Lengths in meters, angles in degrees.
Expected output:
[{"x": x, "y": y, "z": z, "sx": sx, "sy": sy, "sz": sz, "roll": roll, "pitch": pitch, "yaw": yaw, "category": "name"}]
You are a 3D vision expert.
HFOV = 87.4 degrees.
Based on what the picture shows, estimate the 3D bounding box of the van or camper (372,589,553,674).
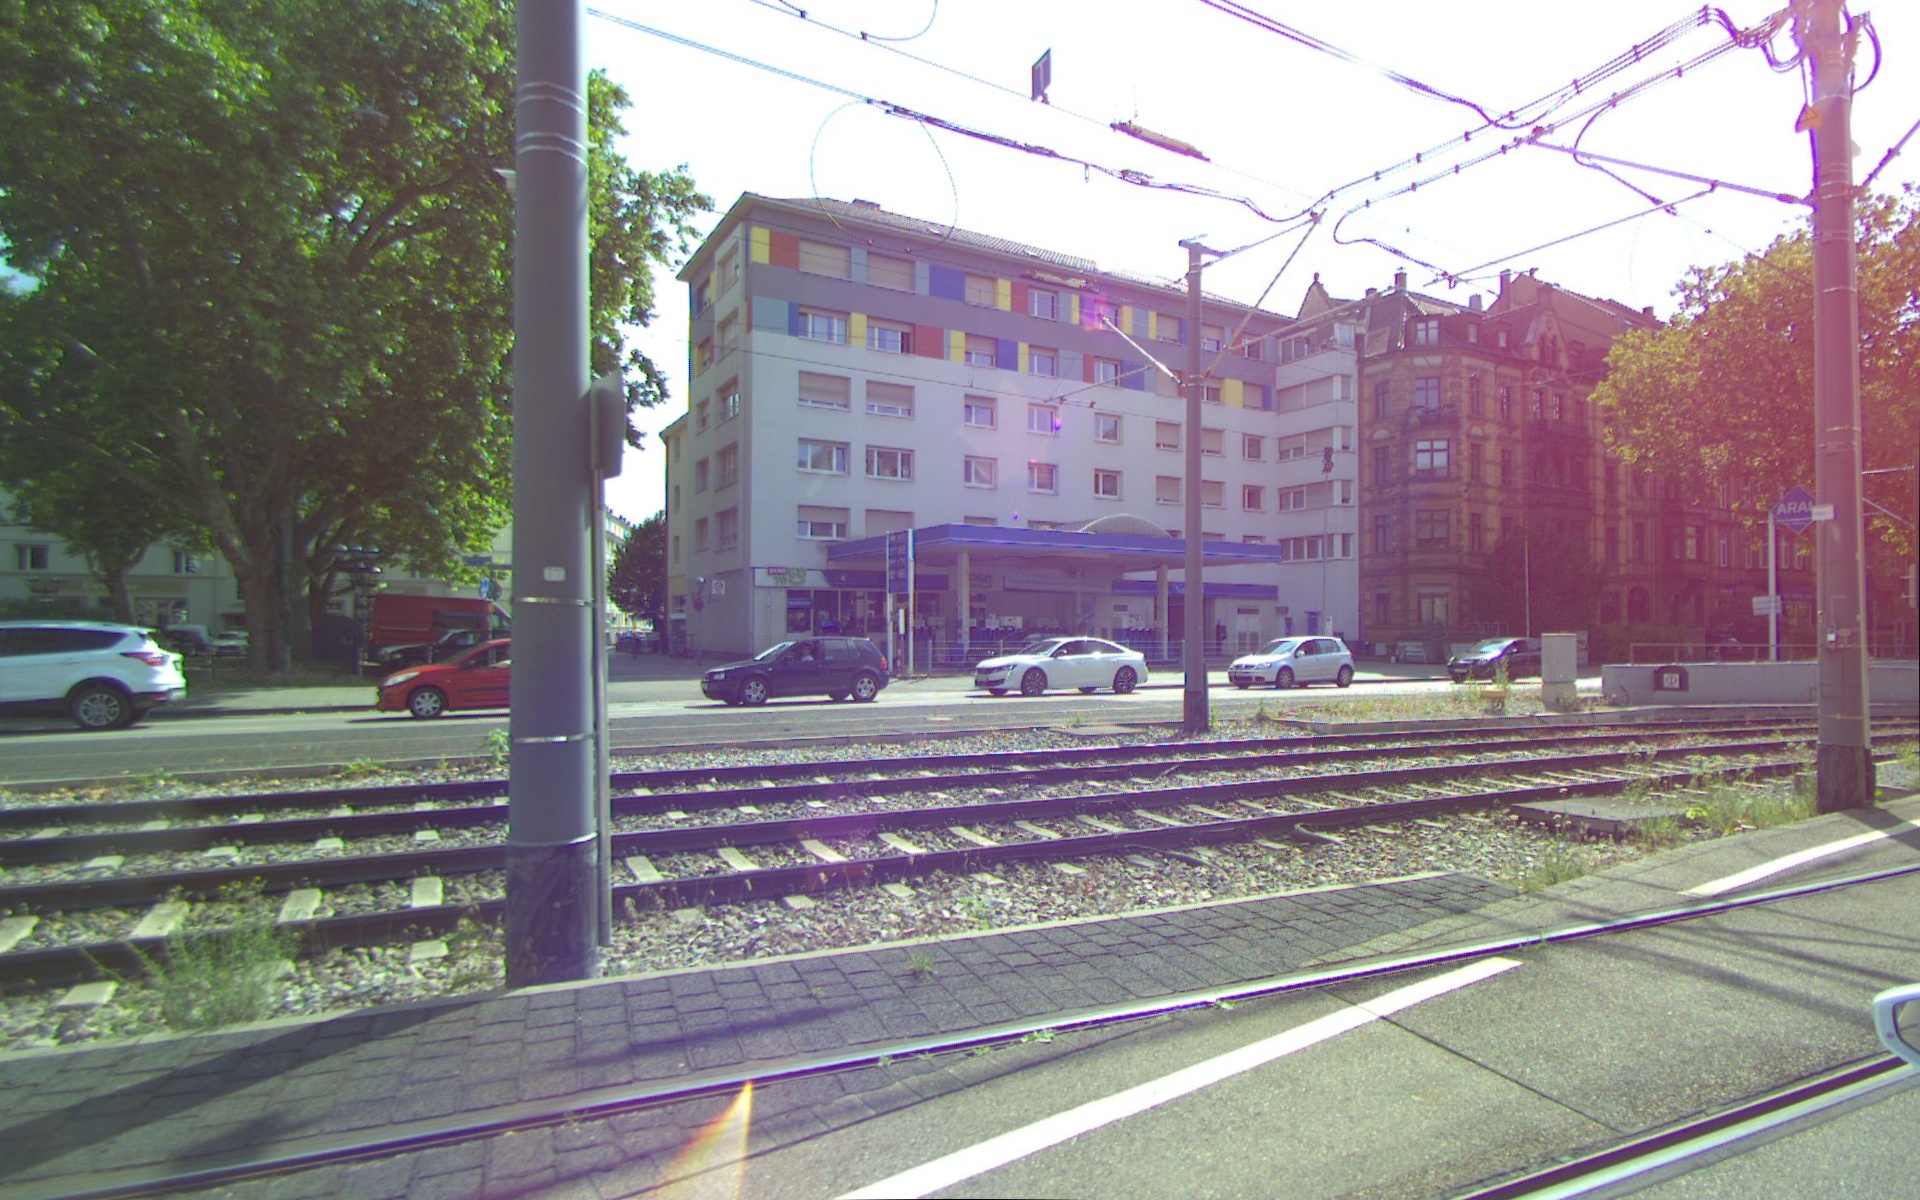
[{"x": -16.594, "y": 1.090, "z": 33.700, "sx": 5.283, "sy": 2.675, "sz": 2.094, "roll": 1, "pitch": -4, "yaw": -29, "category": "van or camper"}]

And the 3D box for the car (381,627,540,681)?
[{"x": -14.218, "y": 1.497, "z": 28.660, "sx": 3.954, "sy": 1.429, "sz": 1.744, "roll": 1, "pitch": -2, "yaw": -31, "category": "car"}]

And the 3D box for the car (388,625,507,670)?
[{"x": -19.537, "y": 1.787, "z": 38.309, "sx": 3.954, "sy": 1.625, "sz": 1.518, "roll": 1, "pitch": -3, "yaw": -31, "category": "car"}]

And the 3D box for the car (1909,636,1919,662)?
[{"x": 50.039, "y": 2.461, "z": 51.090, "sx": 3.447, "sy": 1.320, "sz": 1.492, "roll": 1, "pitch": -4, "yaw": -28, "category": "car"}]

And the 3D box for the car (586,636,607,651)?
[{"x": -37.135, "y": 4.398, "z": 102.803, "sx": 1.646, "sy": 1.435, "sz": 3.772, "roll": 0, "pitch": -1, "yaw": -14, "category": "car"}]

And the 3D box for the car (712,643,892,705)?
[{"x": -3.429, "y": 1.567, "z": 21.907, "sx": 3.588, "sy": 1.205, "sz": 1.610, "roll": 1, "pitch": -1, "yaw": -29, "category": "car"}]

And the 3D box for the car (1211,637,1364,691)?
[{"x": 9.569, "y": 1.819, "z": 29.262, "sx": 4.350, "sy": 1.435, "sz": 1.715, "roll": 1, "pitch": -2, "yaw": -29, "category": "car"}]

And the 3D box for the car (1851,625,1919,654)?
[{"x": 65.132, "y": 2.761, "z": 69.824, "sx": 1.977, "sy": 1.943, "sz": 4.380, "roll": 1, "pitch": -1, "yaw": -30, "category": "car"}]

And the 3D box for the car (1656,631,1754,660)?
[{"x": 41.862, "y": 2.535, "z": 56.532, "sx": 1.974, "sy": 1.503, "sz": 3.973, "roll": 1, "pitch": -2, "yaw": -27, "category": "car"}]

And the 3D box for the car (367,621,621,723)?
[{"x": -8.603, "y": 1.251, "z": 18.668, "sx": 4.094, "sy": 1.628, "sz": 1.704, "roll": -1, "pitch": -1, "yaw": -30, "category": "car"}]

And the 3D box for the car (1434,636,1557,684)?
[{"x": 17.581, "y": 1.934, "z": 32.967, "sx": 3.730, "sy": 1.435, "sz": 1.664, "roll": 1, "pitch": -1, "yaw": -25, "category": "car"}]

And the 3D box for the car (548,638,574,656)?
[{"x": -34.152, "y": 4.018, "z": 86.068, "sx": 1.646, "sy": 1.435, "sz": 3.771, "roll": 0, "pitch": -1, "yaw": -15, "category": "car"}]

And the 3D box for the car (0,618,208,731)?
[{"x": -14.757, "y": 1.152, "z": 15.669, "sx": 4.624, "sy": 1.628, "sz": 1.752, "roll": -1, "pitch": -1, "yaw": -30, "category": "car"}]

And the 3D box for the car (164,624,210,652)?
[{"x": -47.608, "y": 2.325, "z": 61.930, "sx": 1.831, "sy": 1.681, "sz": 4.049, "roll": 1, "pitch": -2, "yaw": -32, "category": "car"}]

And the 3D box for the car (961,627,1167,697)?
[{"x": 2.658, "y": 1.497, "z": 25.325, "sx": 5.016, "sy": 1.628, "sz": 1.938, "roll": 1, "pitch": -2, "yaw": -30, "category": "car"}]

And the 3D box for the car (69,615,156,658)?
[{"x": -43.322, "y": 1.912, "z": 51.457, "sx": 2.223, "sy": 2.039, "sz": 3.915, "roll": 0, "pitch": -4, "yaw": -22, "category": "car"}]

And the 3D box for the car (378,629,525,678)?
[{"x": -15.654, "y": 1.600, "z": 30.959, "sx": 3.954, "sy": 1.429, "sz": 1.744, "roll": 1, "pitch": -2, "yaw": -31, "category": "car"}]

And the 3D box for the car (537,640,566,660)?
[{"x": -32.518, "y": 3.955, "z": 79.967, "sx": 1.646, "sy": 1.435, "sz": 3.771, "roll": 0, "pitch": -1, "yaw": -15, "category": "car"}]

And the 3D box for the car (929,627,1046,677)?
[{"x": 0.996, "y": 1.828, "z": 36.424, "sx": 3.829, "sy": 1.628, "sz": 1.893, "roll": -1, "pitch": -1, "yaw": -30, "category": "car"}]

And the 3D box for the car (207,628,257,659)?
[{"x": -38.850, "y": 2.293, "z": 53.693, "sx": 1.831, "sy": 1.553, "sz": 4.049, "roll": 1, "pitch": -2, "yaw": -32, "category": "car"}]
